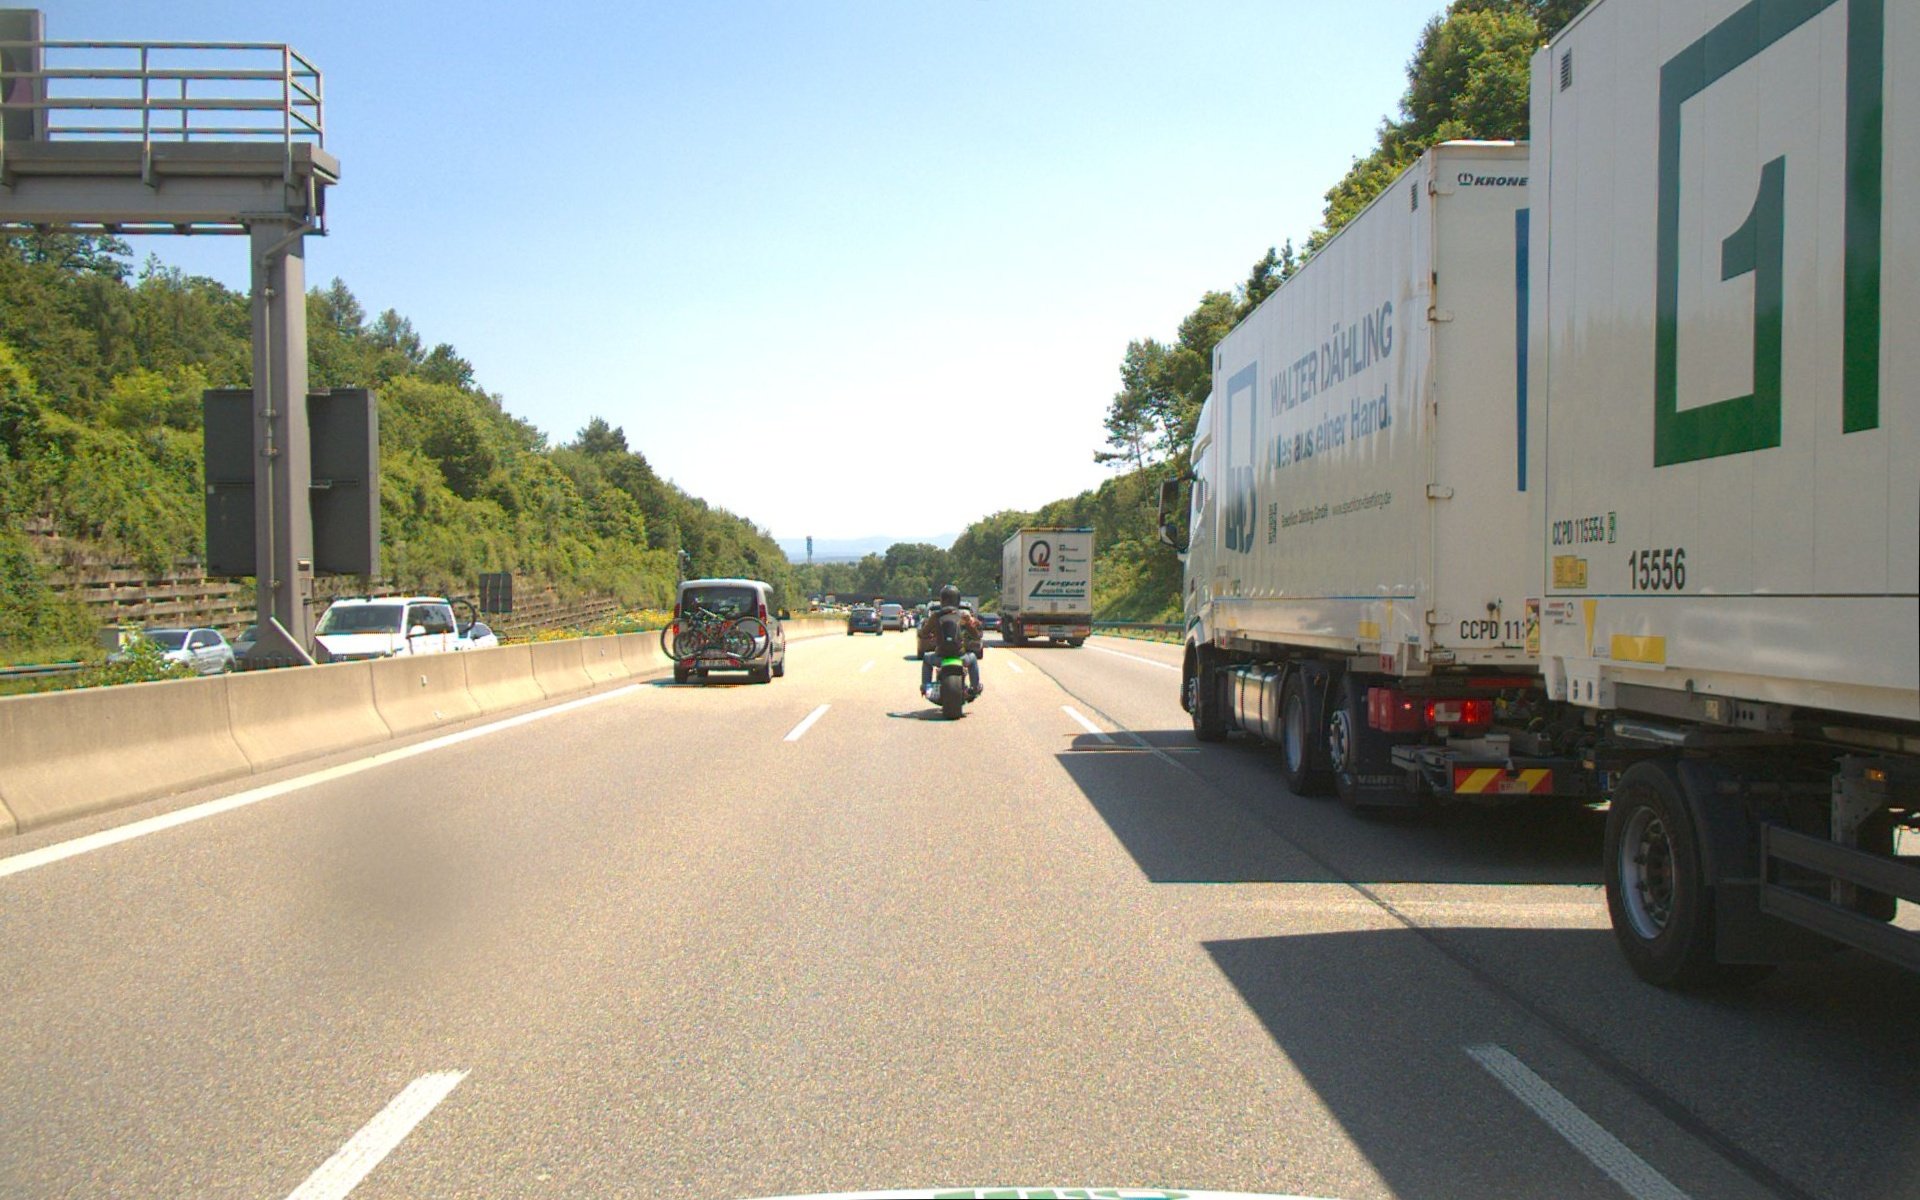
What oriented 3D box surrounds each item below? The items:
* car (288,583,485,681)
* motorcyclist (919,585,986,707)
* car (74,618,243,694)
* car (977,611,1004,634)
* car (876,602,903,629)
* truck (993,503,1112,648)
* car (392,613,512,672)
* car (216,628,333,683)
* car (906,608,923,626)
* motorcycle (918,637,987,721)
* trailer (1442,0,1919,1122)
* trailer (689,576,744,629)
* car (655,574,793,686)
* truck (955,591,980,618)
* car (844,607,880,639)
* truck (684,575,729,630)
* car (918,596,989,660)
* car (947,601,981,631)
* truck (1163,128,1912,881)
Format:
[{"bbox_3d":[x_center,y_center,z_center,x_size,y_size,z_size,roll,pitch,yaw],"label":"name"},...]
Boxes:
[{"bbox_3d":[-11.223,0.552,32.896,1.957,1.717,5.993,-2,0,-2],"label":"car"},{"bbox_3d":[-0.092,0.583,21.387,0.838,1.541,0.913,0,-1,0],"label":"motorcyclist"},{"bbox_3d":[-18.861,1.275,39.161,1.860,1.552,4.372,-1,0,0],"label":"car"},{"bbox_3d":[2.171,1.640,119.728,1.794,1.553,4.026,1,0,-1],"label":"car"},{"bbox_3d":[-4.904,1.074,116.130,1.794,1.842,4.119,1,0,-1],"label":"car"},{"bbox_3d":[3.296,-0.845,64.629,3.314,4.800,17.705,2,0,-1],"label":"truck"},{"bbox_3d":[-15.141,1.212,49.660,1.921,1.521,5.885,-2,1,-2],"label":"car"},{"bbox_3d":[-21.912,1.735,53.065,1.860,1.521,4.477,-1,0,0],"label":"car"},{"bbox_3d":[-4.879,1.837,177.298,1.794,1.842,4.119,1,0,-1],"label":"car"},{"bbox_3d":[-0.094,0.994,21.428,0.844,0.999,2.130,0,0,0],"label":"motorcycle"},{"bbox_3d":[4.039,-0.645,3.968,2.625,4.249,10.063,1,0,-1],"label":"trailer"},{"bbox_3d":[-19.832,0.161,135.410,2.625,4.085,14.184,0,0,-1],"label":"trailer"},{"bbox_3d":[-4.276,0.526,30.750,1.860,1.880,5.481,1,0,-1],"label":"car"},{"bbox_3d":[0.967,0.525,218.036,3.005,3.405,9.650,2,0,-1],"label":"truck"},{"bbox_3d":[-5.210,1.224,88.197,1.722,1.571,4.394,1,0,-1],"label":"car"},{"bbox_3d":[-19.683,0.179,128.669,2.625,4.101,5.929,0,0,-1],"label":"truck"},{"bbox_3d":[-0.211,0.699,44.368,1.808,1.584,4.438,1,0,-1],"label":"car"},{"bbox_3d":[0.213,0.889,94.580,1.794,1.586,4.119,1,0,-1],"label":"car"},{"bbox_3d":[3.856,-0.534,14.453,2.625,4.130,10.623,1,0,-1],"label":"truck"}]
